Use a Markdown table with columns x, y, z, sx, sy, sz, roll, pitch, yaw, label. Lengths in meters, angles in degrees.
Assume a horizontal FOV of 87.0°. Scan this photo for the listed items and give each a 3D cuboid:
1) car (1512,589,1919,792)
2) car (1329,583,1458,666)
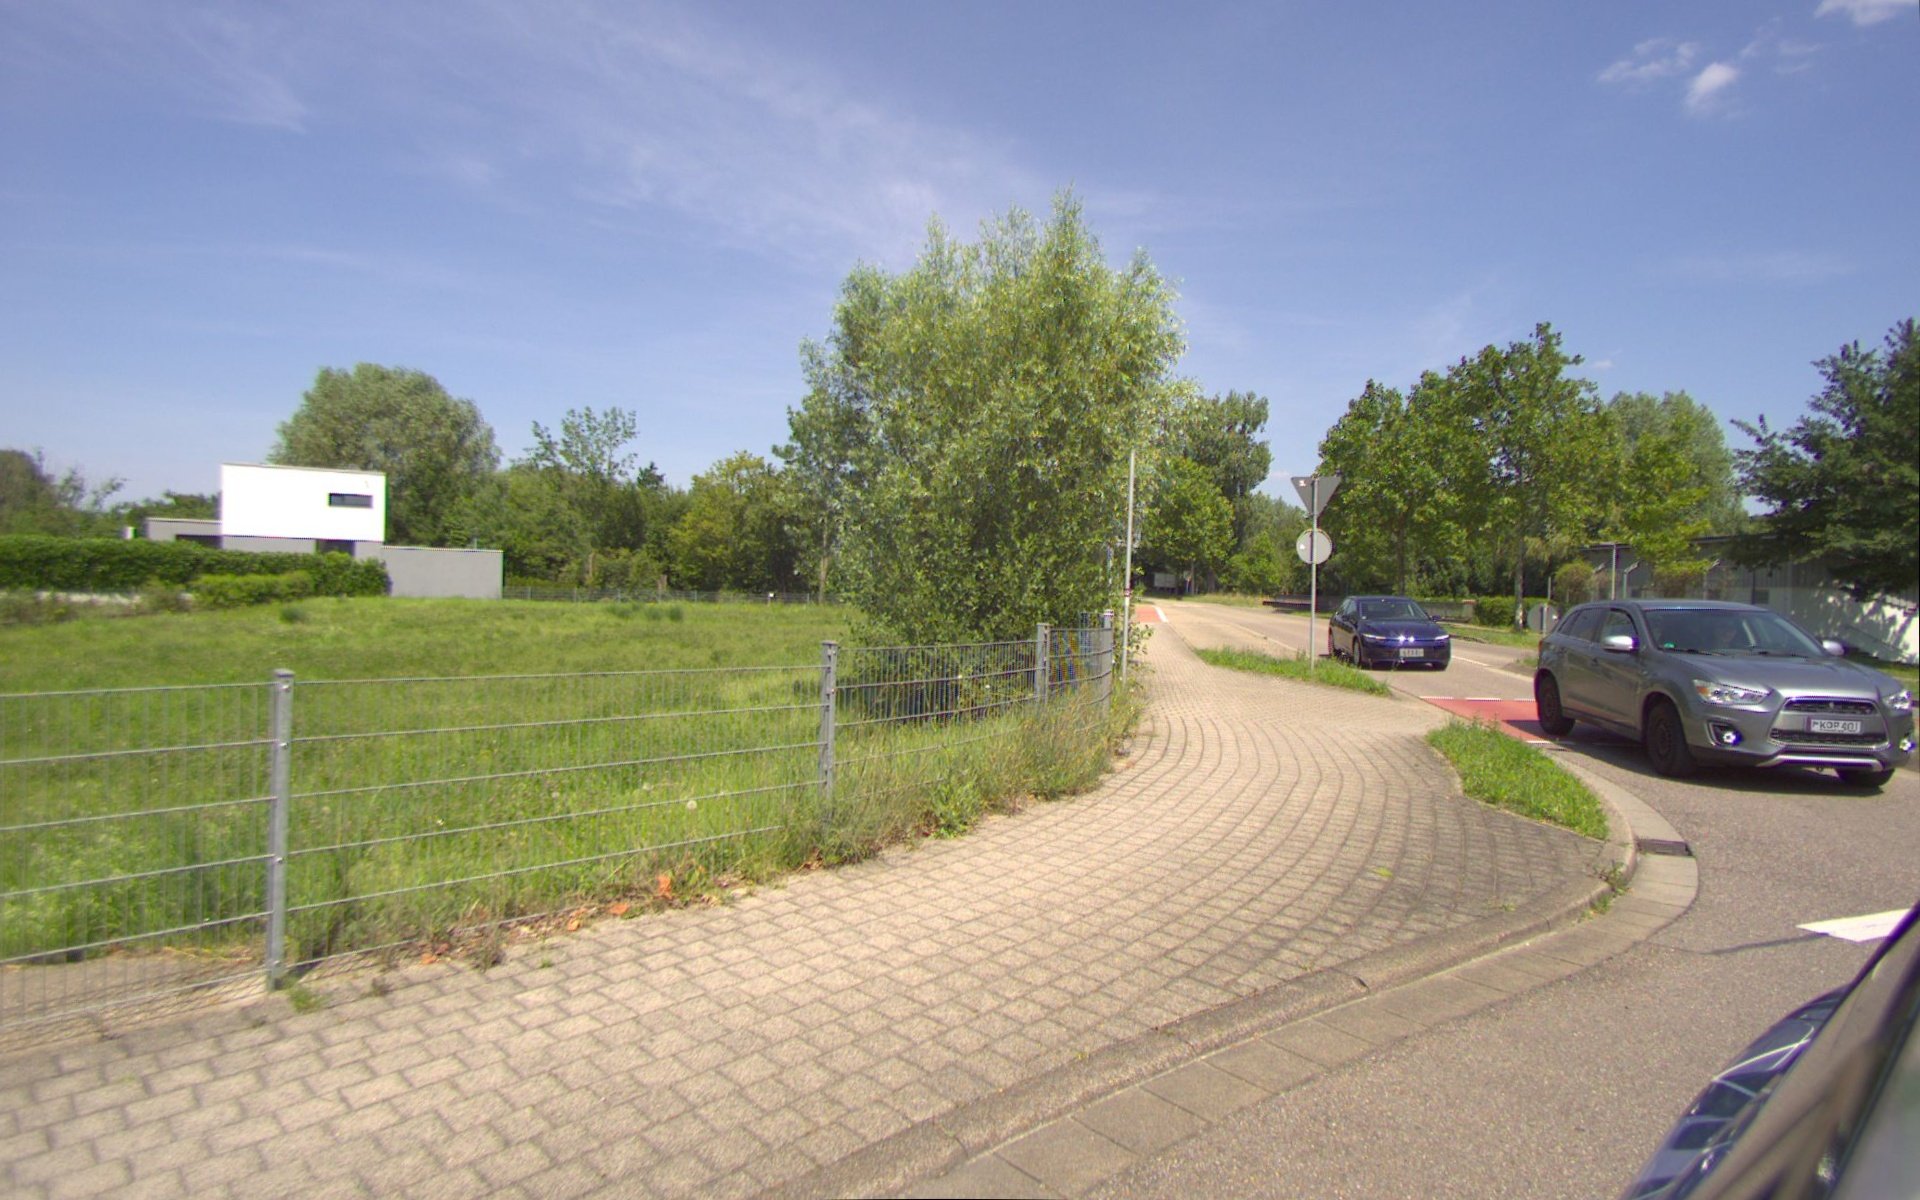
| x | y | z | sx | sy | sz | roll | pitch | yaw | label |
| --- | --- | --- | --- | --- | --- | --- | --- | --- | --- |
| 7.469 | 0.702 | 10.431 | 1.723 | 1.553 | 4.512 | 1 | 1 | 10 | car |
| 9.152 | 0.449 | 21.682 | 1.767 | 1.559 | 4.116 | 1 | 1 | 13 | car |
